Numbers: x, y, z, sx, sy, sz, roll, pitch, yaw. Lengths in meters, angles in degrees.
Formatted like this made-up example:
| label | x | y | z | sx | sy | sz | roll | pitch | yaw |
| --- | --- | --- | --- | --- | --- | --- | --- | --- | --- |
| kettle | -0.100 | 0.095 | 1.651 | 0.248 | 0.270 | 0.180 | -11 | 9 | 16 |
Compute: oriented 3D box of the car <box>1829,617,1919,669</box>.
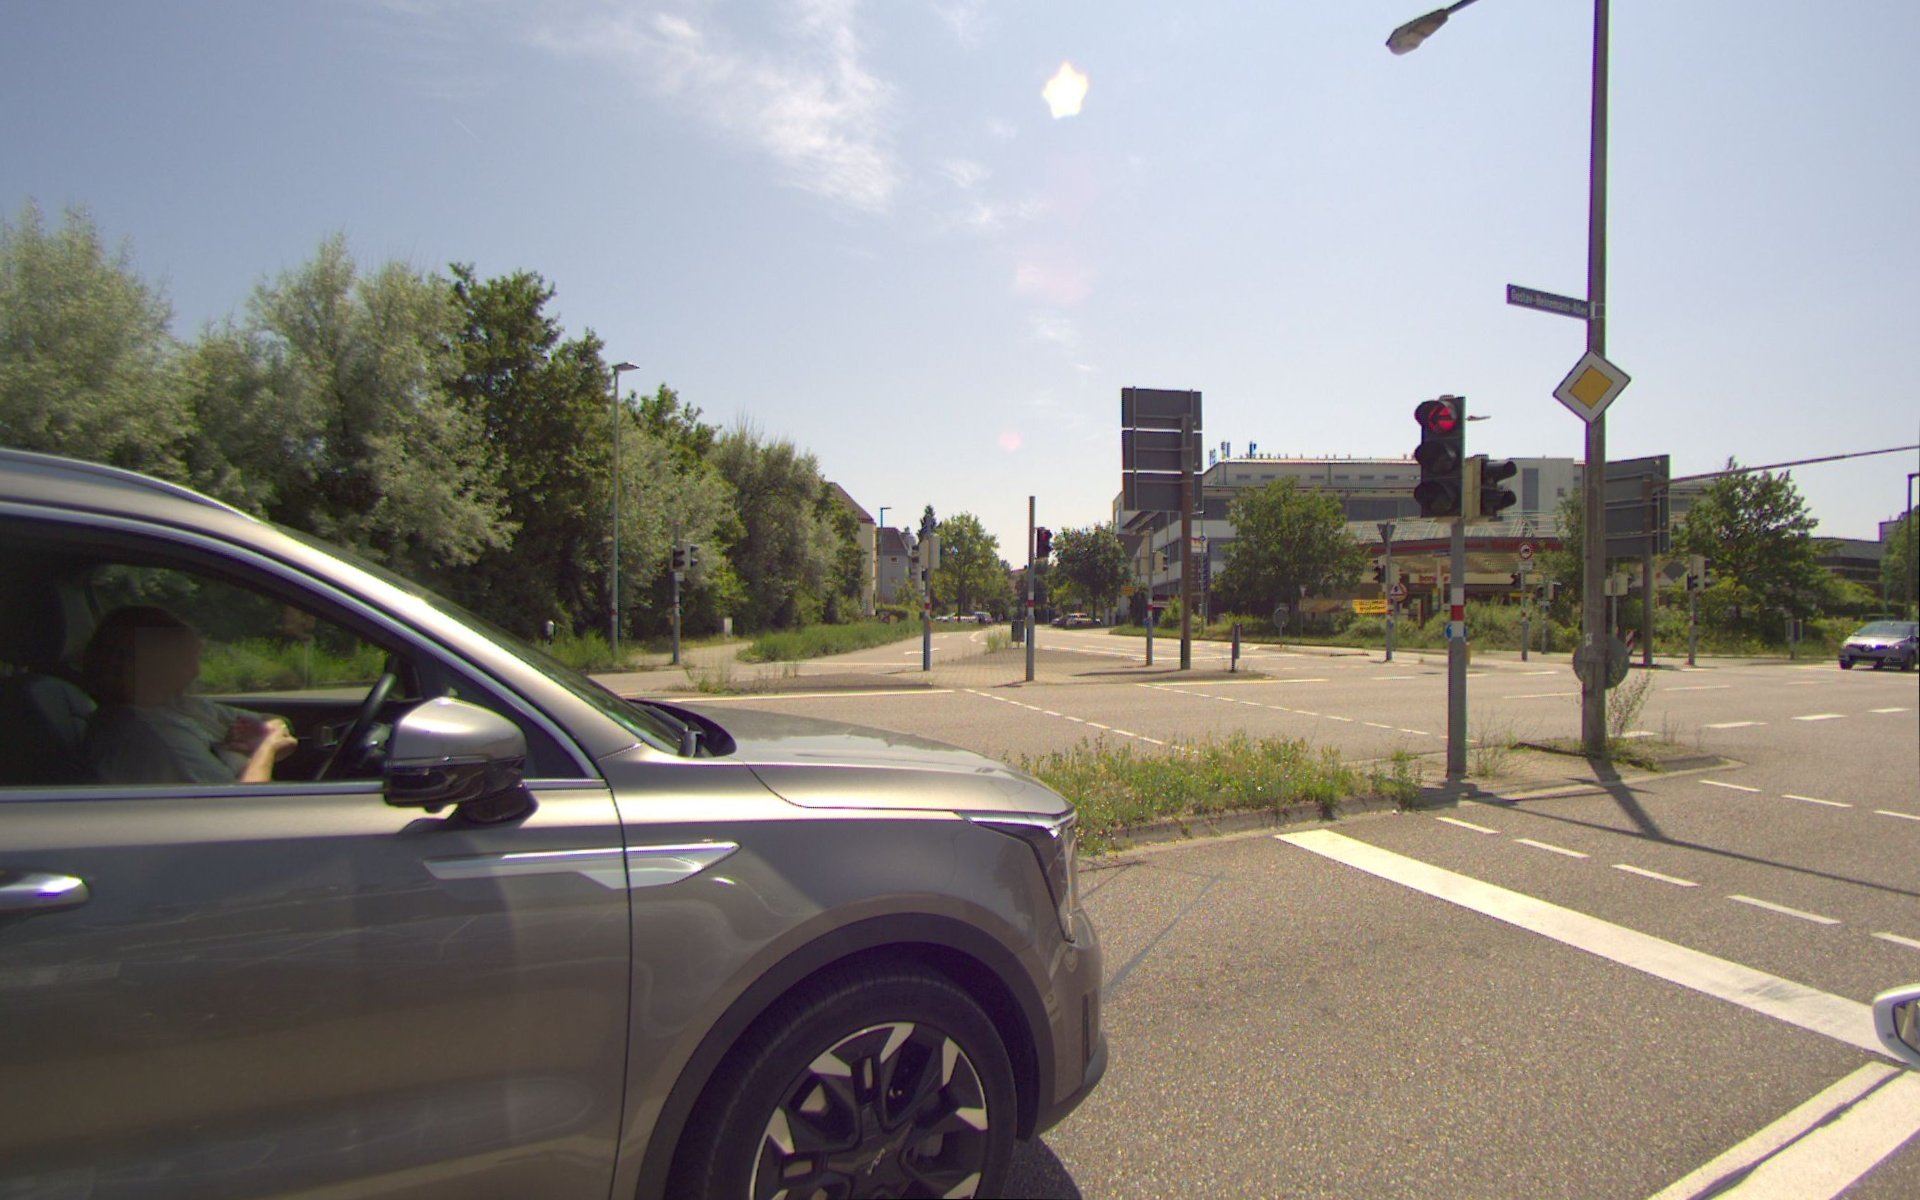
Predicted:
| label | x | y | z | sx | sy | sz | roll | pitch | yaw |
| --- | --- | --- | --- | --- | --- | --- | --- | --- | --- |
| car | 30.055 | 1.369 | 32.612 | 3.954 | 1.560 | 1.650 | 1 | 0 | -31 |

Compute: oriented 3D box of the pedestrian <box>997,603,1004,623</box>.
| label | x | y | z | sx | sy | sz | roll | pitch | yaw |
| --- | --- | --- | --- | --- | --- | --- | --- | --- | --- |
| pedestrian | 5.739 | 1.828 | 142.196 | 0.864 | 2.751 | 1.518 | 2 | 0 | 8 |

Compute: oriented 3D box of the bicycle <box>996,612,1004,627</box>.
| label | x | y | z | sx | sy | sz | roll | pitch | yaw |
| --- | --- | --- | --- | --- | --- | --- | --- | --- | --- |
| bicycle | 5.637 | 2.773 | 142.151 | 0.876 | 2.040 | 3.196 | 0 | -1 | 6 |

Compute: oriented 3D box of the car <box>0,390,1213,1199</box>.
| label | x | y | z | sx | sy | sz | roll | pitch | yaw |
| --- | --- | --- | --- | --- | --- | --- | --- | --- | --- |
| car | -1.744 | 0.577 | 2.044 | 4.480 | 1.690 | 1.771 | 1 | -1 | -31 |
